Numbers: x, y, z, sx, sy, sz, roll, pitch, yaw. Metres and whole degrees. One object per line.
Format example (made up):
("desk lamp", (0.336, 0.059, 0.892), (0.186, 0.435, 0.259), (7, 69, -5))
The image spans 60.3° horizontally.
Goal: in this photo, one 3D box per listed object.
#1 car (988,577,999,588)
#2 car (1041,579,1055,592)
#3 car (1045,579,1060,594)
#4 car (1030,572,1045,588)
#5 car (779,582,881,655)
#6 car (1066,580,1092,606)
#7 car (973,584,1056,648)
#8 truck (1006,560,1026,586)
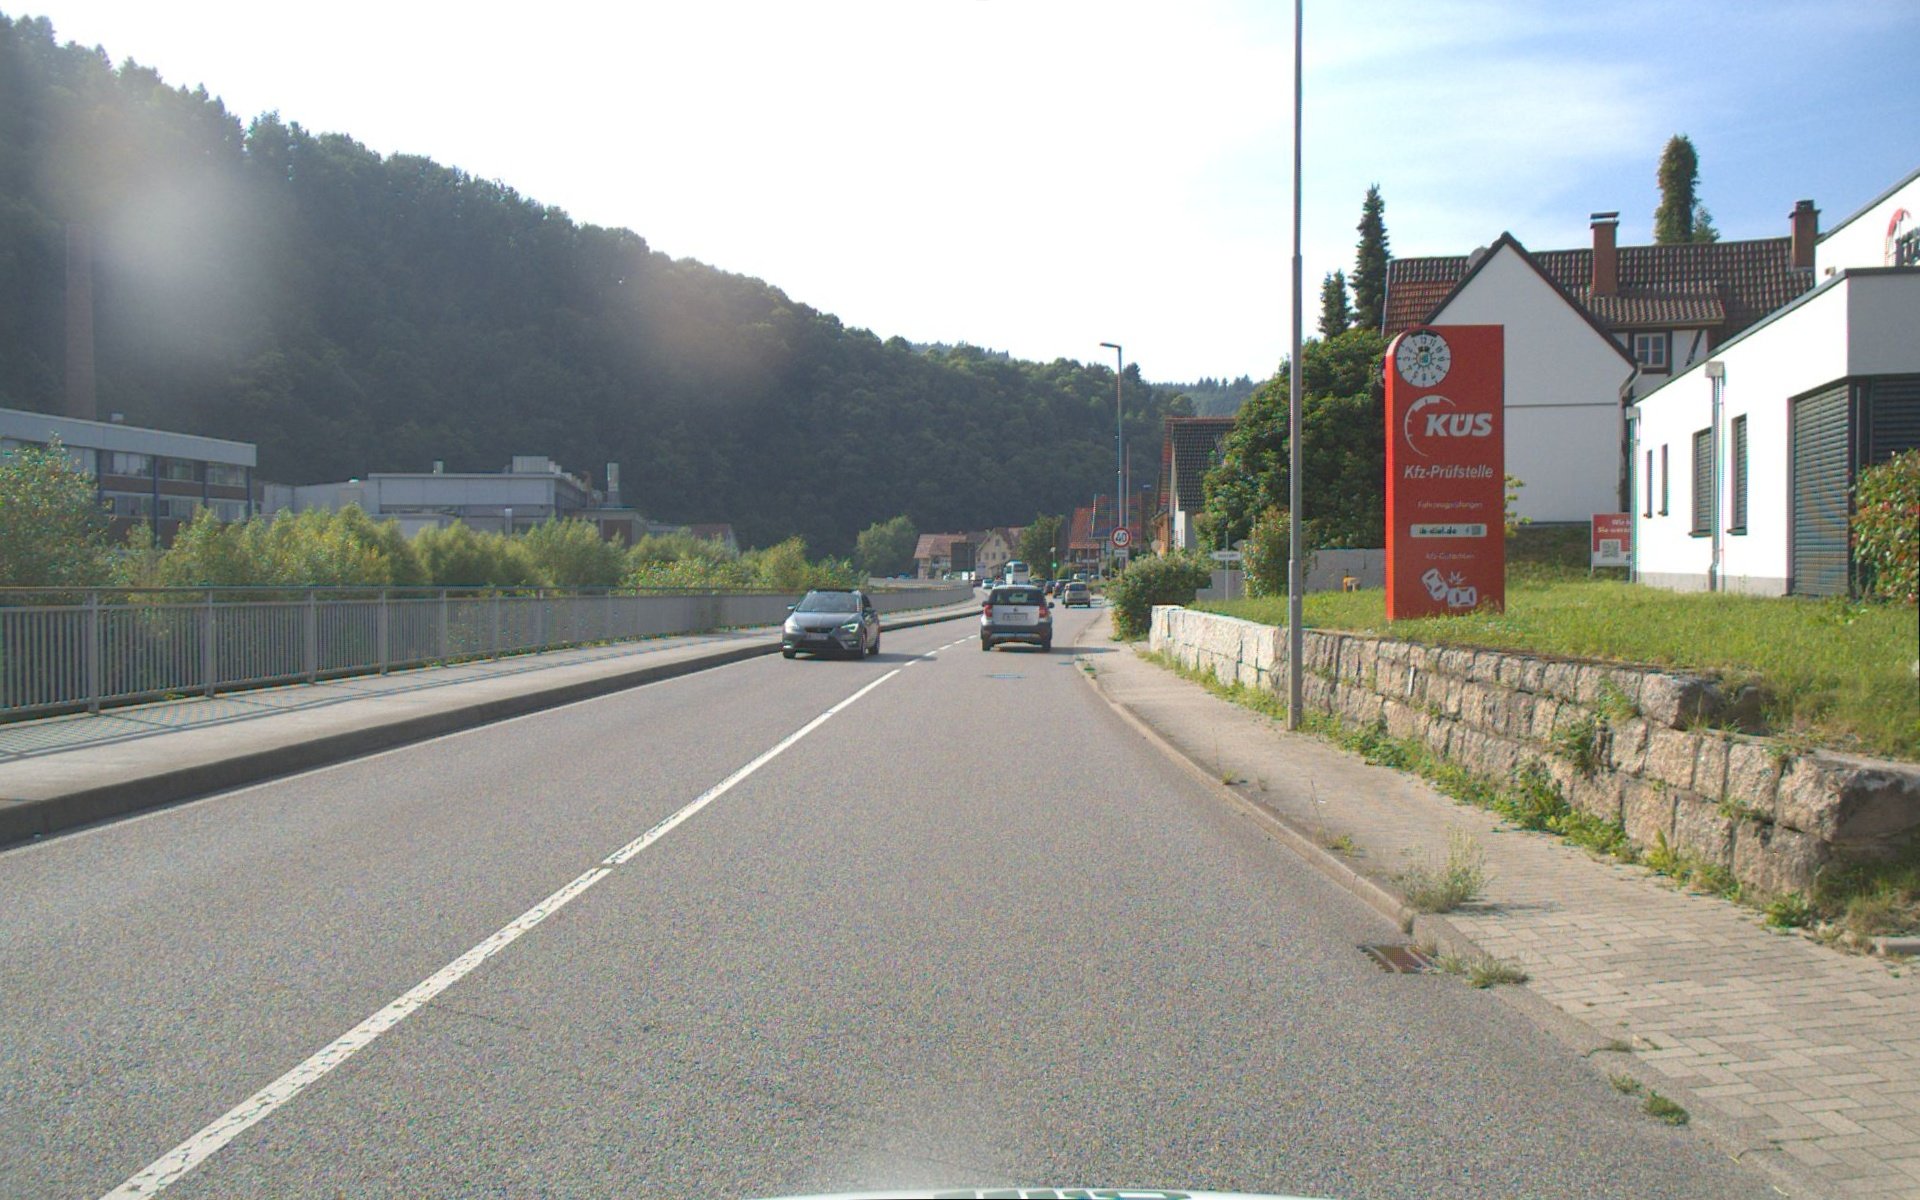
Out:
("car", (4.297, -2.301, 213.982), (1.404, 1.407, 3.135), (0, 2, 0))
("car", (8.975, -1.437, 168.910), (1.336, 1.300, 3.084), (0, 0, 3))
("car", (8.367, -1.240, 149.266), (1.336, 1.300, 3.084), (0, 0, 3))
("car", (9.135, -2.349, 195.180), (1.639, 1.783, 3.451), (0, 2, 5))
("car", (-2.796, 0.394, 36.566), (1.775, 1.510, 4.798), (0, 0, 1))
("car", (7.517, -0.423, 104.203), (1.588, 1.568, 3.280), (0, 0, 4))
("car", (1.459, 0.381, 42.678), (1.821, 1.571, 4.376), (0, 0, 6))
("truck", (7.625, -3.747, 226.058), (2.672, 3.433, 6.481), (0, 2, 2))
